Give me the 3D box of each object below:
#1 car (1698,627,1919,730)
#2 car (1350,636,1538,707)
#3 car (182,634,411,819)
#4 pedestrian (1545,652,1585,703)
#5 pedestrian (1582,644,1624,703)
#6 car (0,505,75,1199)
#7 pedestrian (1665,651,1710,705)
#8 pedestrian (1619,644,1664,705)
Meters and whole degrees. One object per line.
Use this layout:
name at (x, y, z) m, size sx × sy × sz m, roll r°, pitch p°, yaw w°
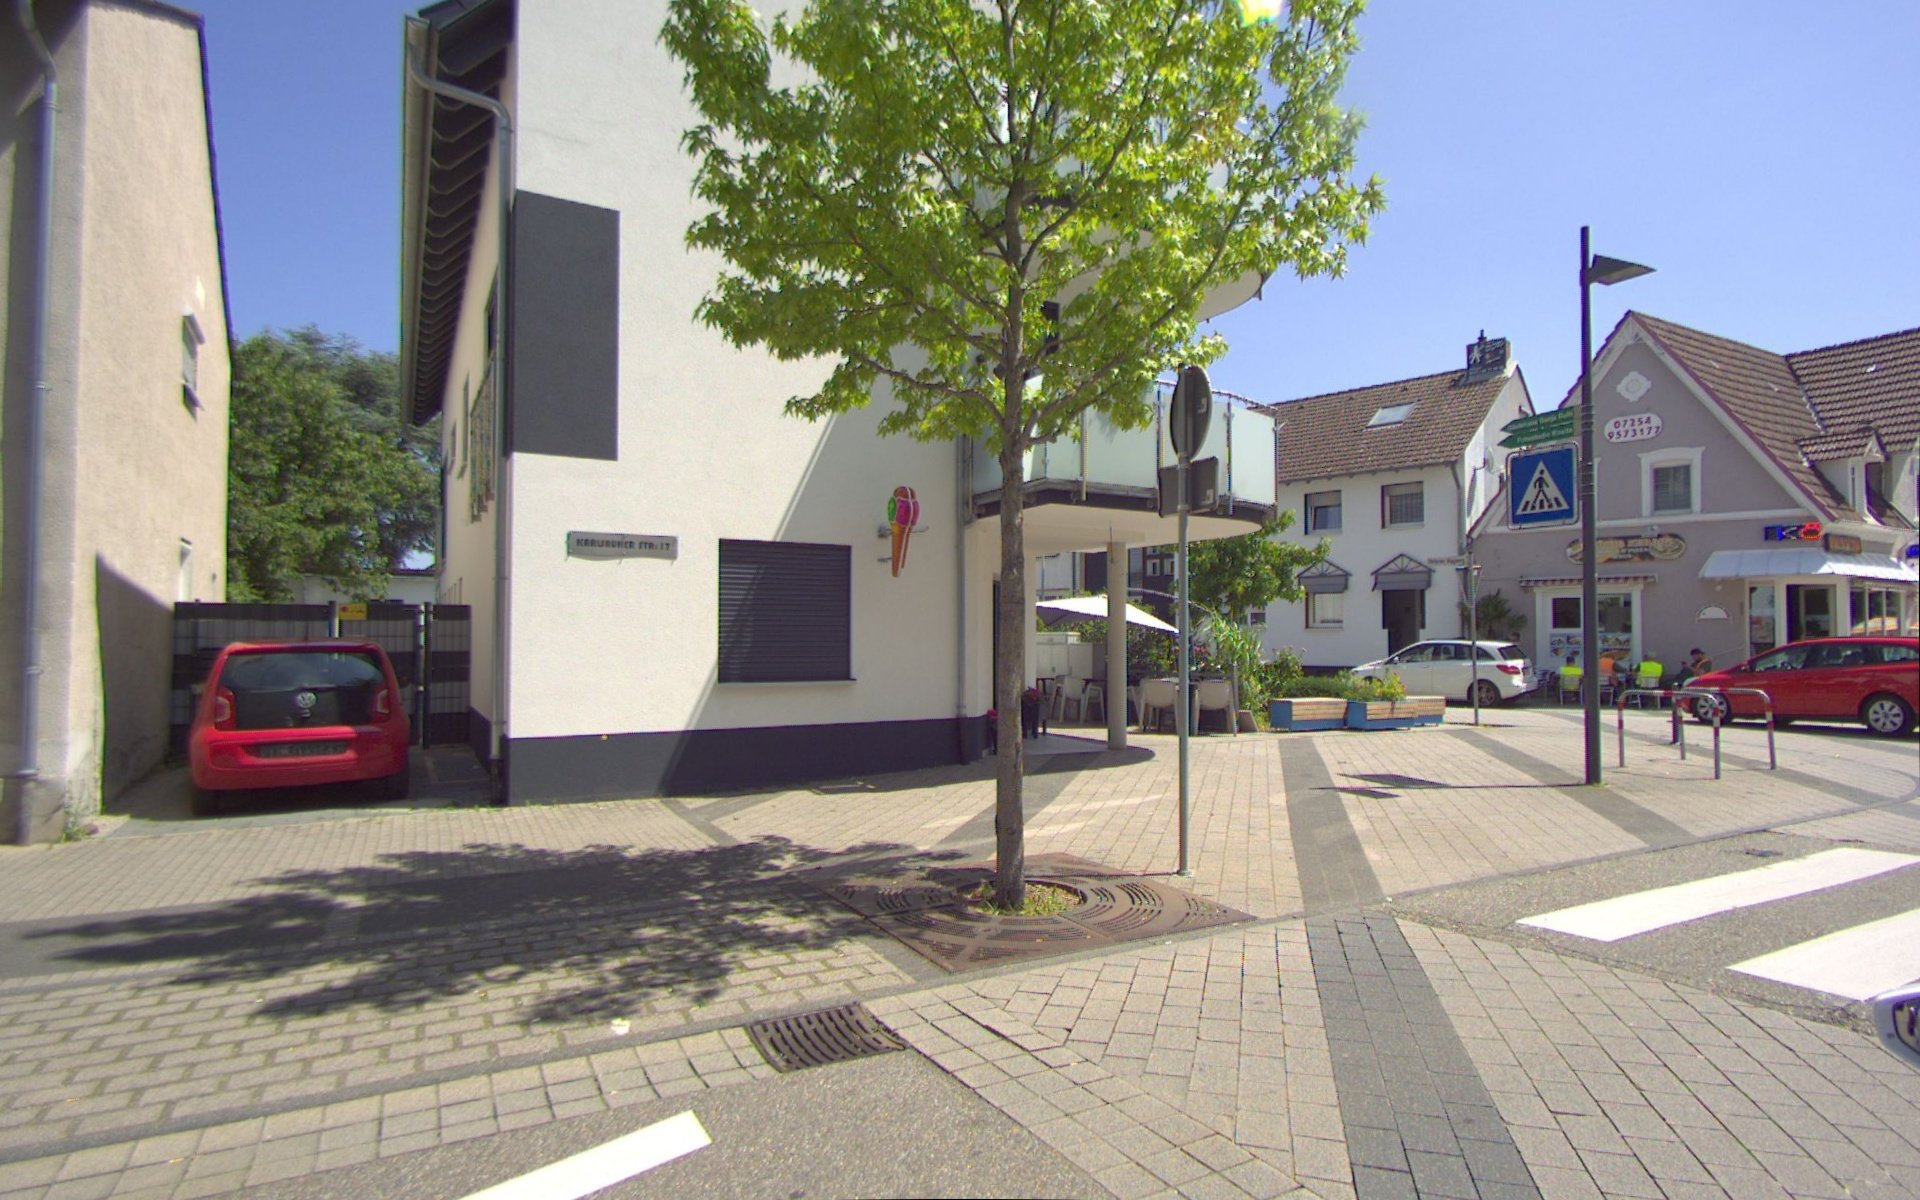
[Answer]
car at (13.946, 1.170, 15.697) m, size 1.654 × 1.449 × 3.669 m, roll 1°, pitch -2°, yaw -15°
car at (11.834, 1.694, 24.717) m, size 1.507 × 1.566 × 3.879 m, roll 0°, pitch -1°, yaw -43°
car at (-6.355, 1.074, 9.712) m, size 1.570 × 1.462 × 3.096 m, roll 2°, pitch -3°, yaw -34°
pedestrian at (14.235, 1.813, 23.642) m, size 0.623 × 1.130 × 0.789 m, roll 2°, pitch 0°, yaw 18°
pedestrian at (15.128, 1.724, 23.639) m, size 0.623 × 1.306 × 0.789 m, roll 2°, pitch 0°, yaw 18°
car at (-3.673, 0.610, 0.769) m, size 4.182 × 1.738 × 1.667 m, roll 2°, pitch -2°, yaw -30°
pedestrian at (16.522, 1.751, 22.811) m, size 0.689 × 1.194 × 0.618 m, roll 2°, pitch -2°, yaw -33°
pedestrian at (15.405, 1.681, 22.725) m, size 0.623 × 1.306 × 0.789 m, roll 2°, pitch 0°, yaw 18°
